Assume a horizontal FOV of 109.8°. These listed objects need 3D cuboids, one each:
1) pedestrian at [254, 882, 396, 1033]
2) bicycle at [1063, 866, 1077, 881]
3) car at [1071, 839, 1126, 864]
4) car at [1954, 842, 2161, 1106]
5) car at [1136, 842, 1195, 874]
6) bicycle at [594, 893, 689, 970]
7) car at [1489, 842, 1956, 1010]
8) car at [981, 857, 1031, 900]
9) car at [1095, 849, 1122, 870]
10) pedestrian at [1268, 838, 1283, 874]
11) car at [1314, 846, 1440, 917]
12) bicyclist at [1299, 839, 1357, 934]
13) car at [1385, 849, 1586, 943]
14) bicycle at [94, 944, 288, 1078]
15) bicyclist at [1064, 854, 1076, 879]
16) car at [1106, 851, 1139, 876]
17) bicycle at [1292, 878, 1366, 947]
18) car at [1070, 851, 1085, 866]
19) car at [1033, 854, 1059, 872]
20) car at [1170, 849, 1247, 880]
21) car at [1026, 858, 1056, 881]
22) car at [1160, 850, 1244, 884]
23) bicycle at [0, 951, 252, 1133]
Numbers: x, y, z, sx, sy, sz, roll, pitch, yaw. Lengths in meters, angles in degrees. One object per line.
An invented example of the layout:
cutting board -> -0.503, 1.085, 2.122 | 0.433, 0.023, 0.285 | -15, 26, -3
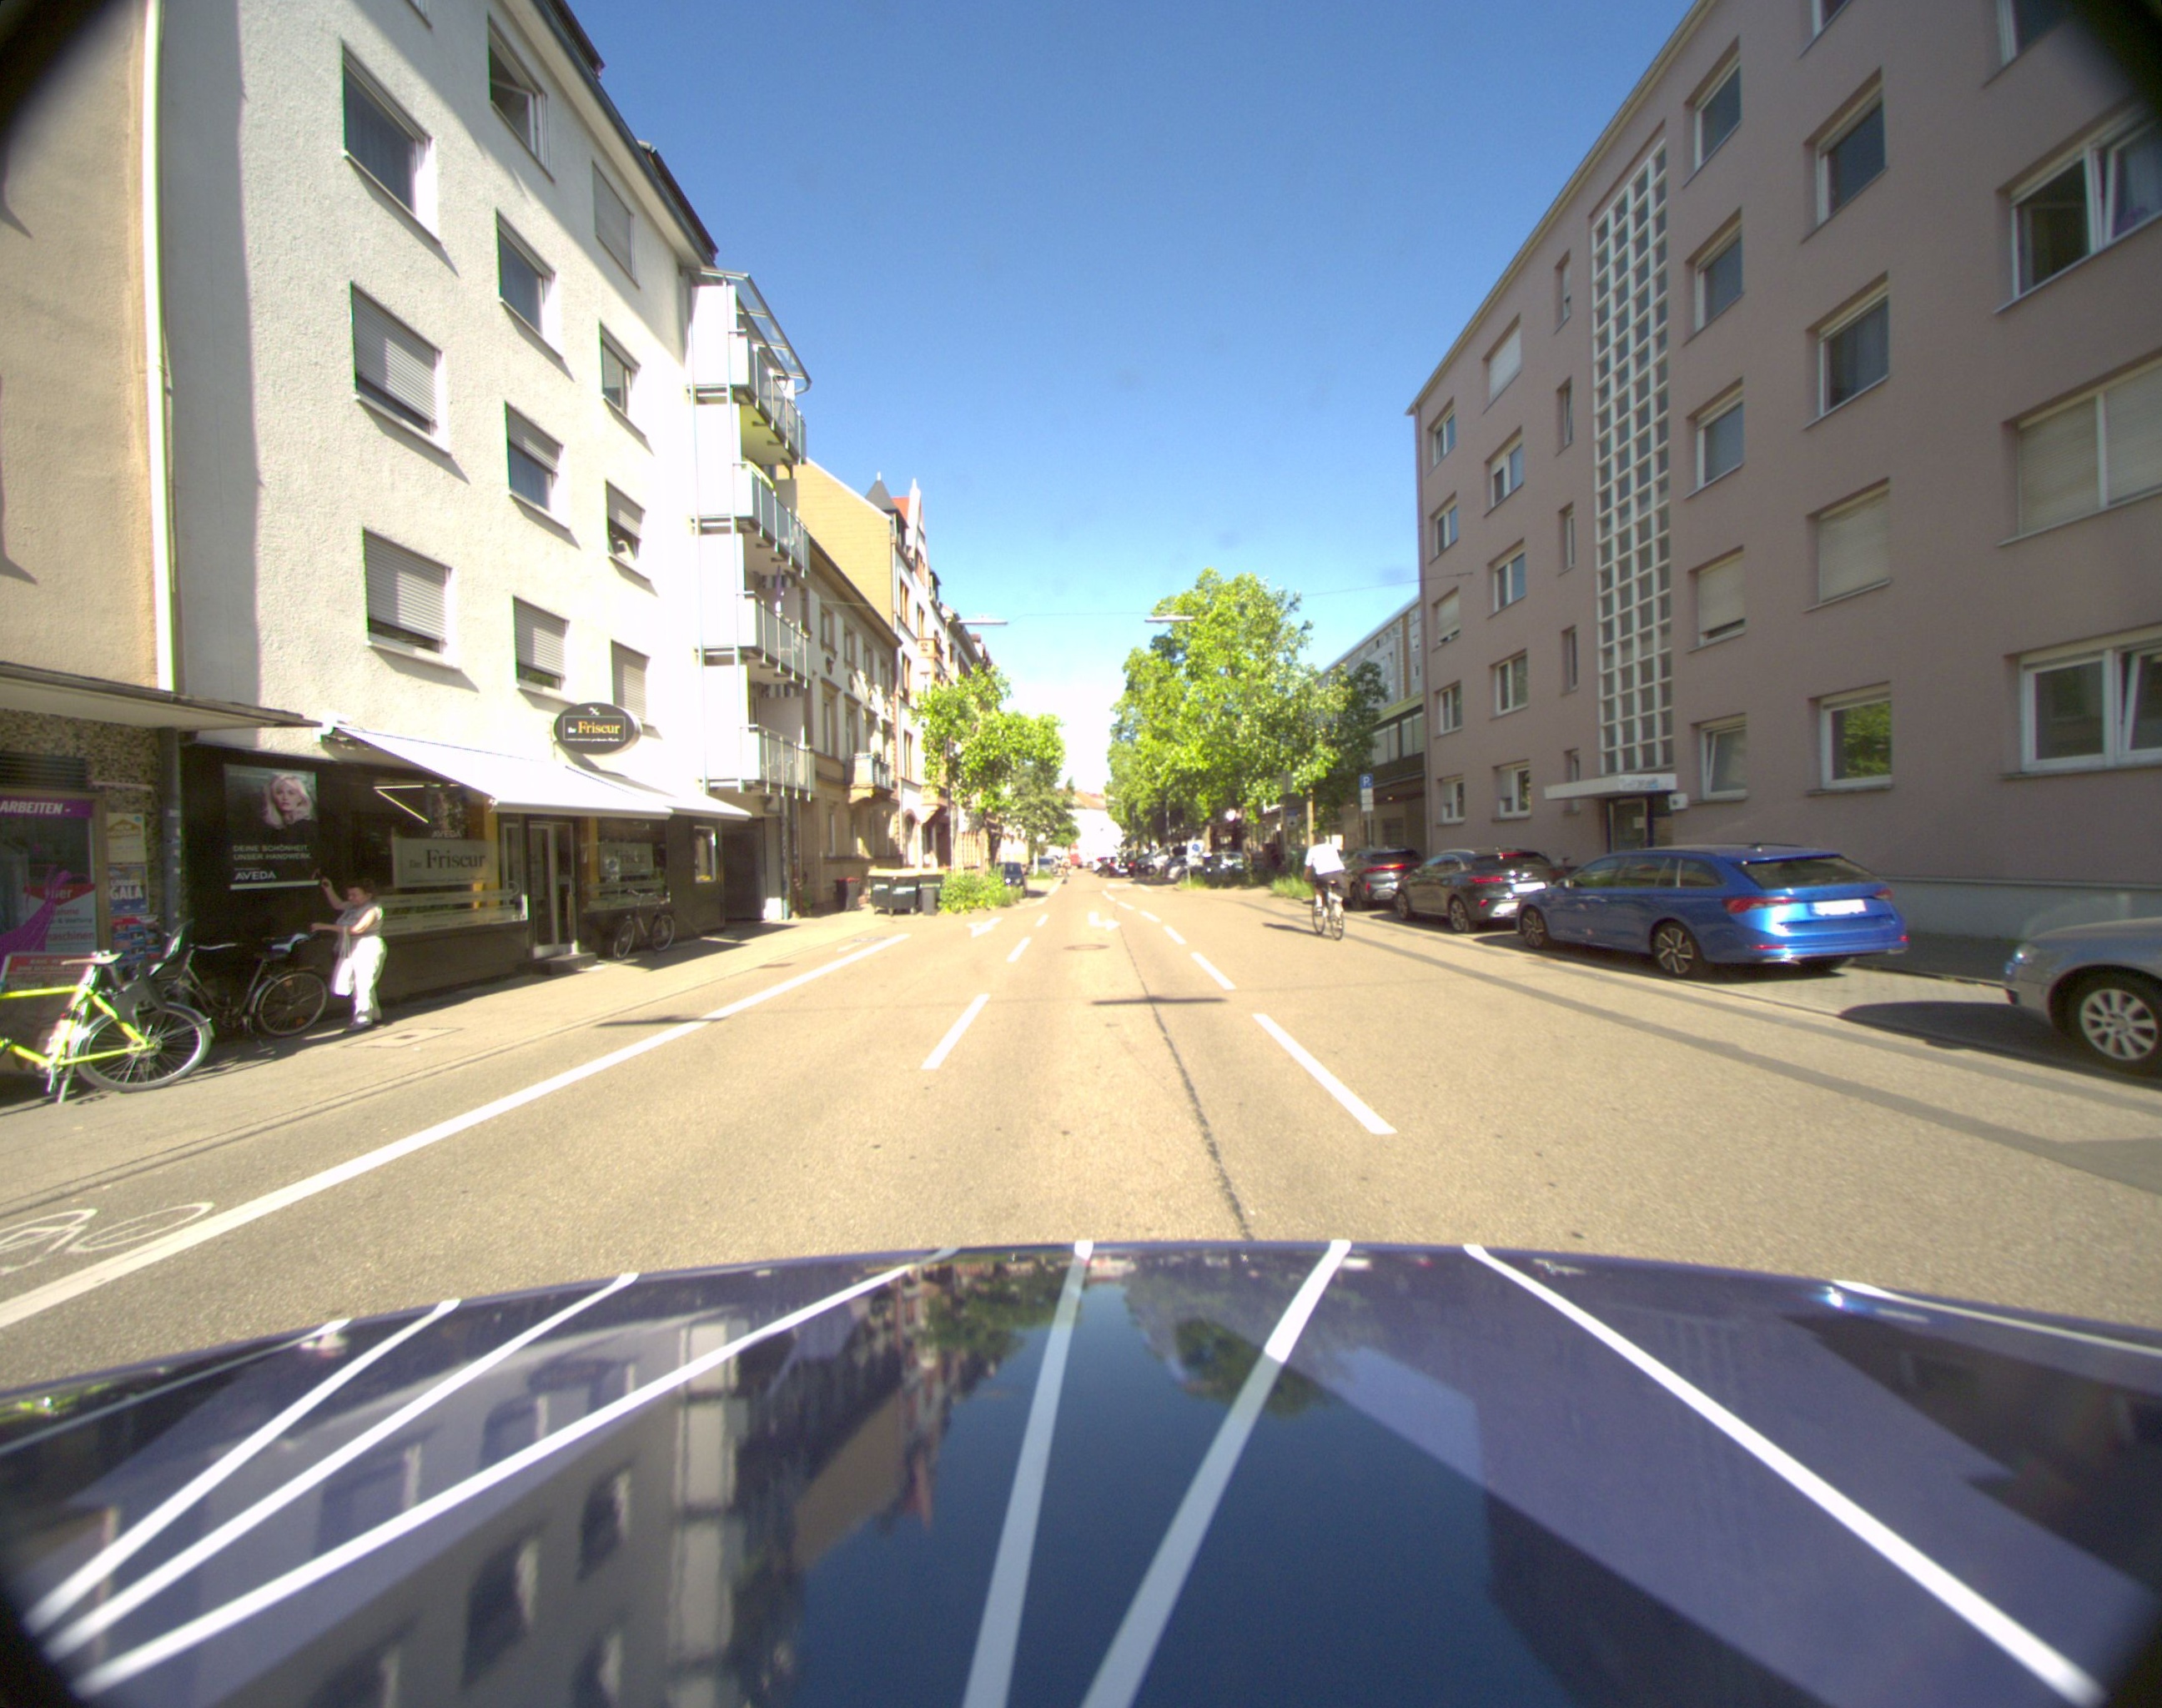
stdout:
pedestrian -> -7.609, 1.009, 7.679 | 0.776, 1.434, 0.625 | 0, 1, -4
bicycle -> -0.604, 1.119, 43.597 | 0.582, 0.801, 1.710 | -2, 0, 6
car -> 1.831, -0.239, 78.697 | 5.571, 2.379, 1.973 | -2, 1, -35
car -> 7.372, 0.709, 3.184 | 1.828, 1.494, 4.801 | -4, 0, -1
car -> 5.844, 0.285, 52.717 | 3.875, 2.031, 1.913 | -2, 1, 3
bicycle -> -7.625, 1.311, 13.277 | 0.598, 1.137, 1.774 | 1, 0, 1
car -> 7.479, 0.689, 9.723 | 1.828, 1.494, 4.801 | -4, 0, -1
car -> -3.020, 0.964, 31.192 | 1.627, 1.586, 3.546 | -2, 0, 1
car -> 2.150, 0.398, 60.509 | 1.911, 1.543, 4.000 | -2, 0, 0
pedestrian -> 9.816, 0.101, 38.376 | 0.623, 1.796, 0.502 | -2, 1, 2
car -> 7.622, 0.636, 20.010 | 1.727, 1.567, 4.158 | -4, 0, 2
bicyclist -> 4.346, 0.546, 13.421 | 0.718, 1.611, 0.946 | -1, 1, 1
car -> 7.548, 0.684, 14.706 | 1.727, 1.459, 4.158 | -4, 0, 2
bicycle -> -8.069, 1.387, 6.953 | 0.376, 0.977, 1.175 | -2, 0, -2
bicyclist -> -0.618, 0.715, 43.566 | 0.582, 1.369, 0.665 | -2, 1, 5
car -> 2.719, 0.571, 50.288 | 1.911, 1.543, 4.000 | -2, 0, 0
bicycle -> 4.358, 0.999, 13.500 | 0.718, 1.058, 1.872 | -1, 1, 1
car -> -0.427, 0.518, 88.716 | 1.627, 1.586, 3.547 | -2, 0, 1
car -> -2.924, 0.742, 63.728 | 1.914, 1.444, 3.547 | -2, 0, 1
car -> 6.958, 0.567, 41.779 | 3.996, 1.543, 1.913 | -2, 0, 3
car -> -2.782, 1.084, 53.426 | 1.914, 1.444, 3.546 | -2, 0, -1
car -> 6.075, 0.634, 38.508 | 3.996, 1.543, 1.913 | -2, 0, 3
bicycle -> -7.426, 1.373, 5.668 | 1.497, 1.100, 0.722 | -2, 1, -31
